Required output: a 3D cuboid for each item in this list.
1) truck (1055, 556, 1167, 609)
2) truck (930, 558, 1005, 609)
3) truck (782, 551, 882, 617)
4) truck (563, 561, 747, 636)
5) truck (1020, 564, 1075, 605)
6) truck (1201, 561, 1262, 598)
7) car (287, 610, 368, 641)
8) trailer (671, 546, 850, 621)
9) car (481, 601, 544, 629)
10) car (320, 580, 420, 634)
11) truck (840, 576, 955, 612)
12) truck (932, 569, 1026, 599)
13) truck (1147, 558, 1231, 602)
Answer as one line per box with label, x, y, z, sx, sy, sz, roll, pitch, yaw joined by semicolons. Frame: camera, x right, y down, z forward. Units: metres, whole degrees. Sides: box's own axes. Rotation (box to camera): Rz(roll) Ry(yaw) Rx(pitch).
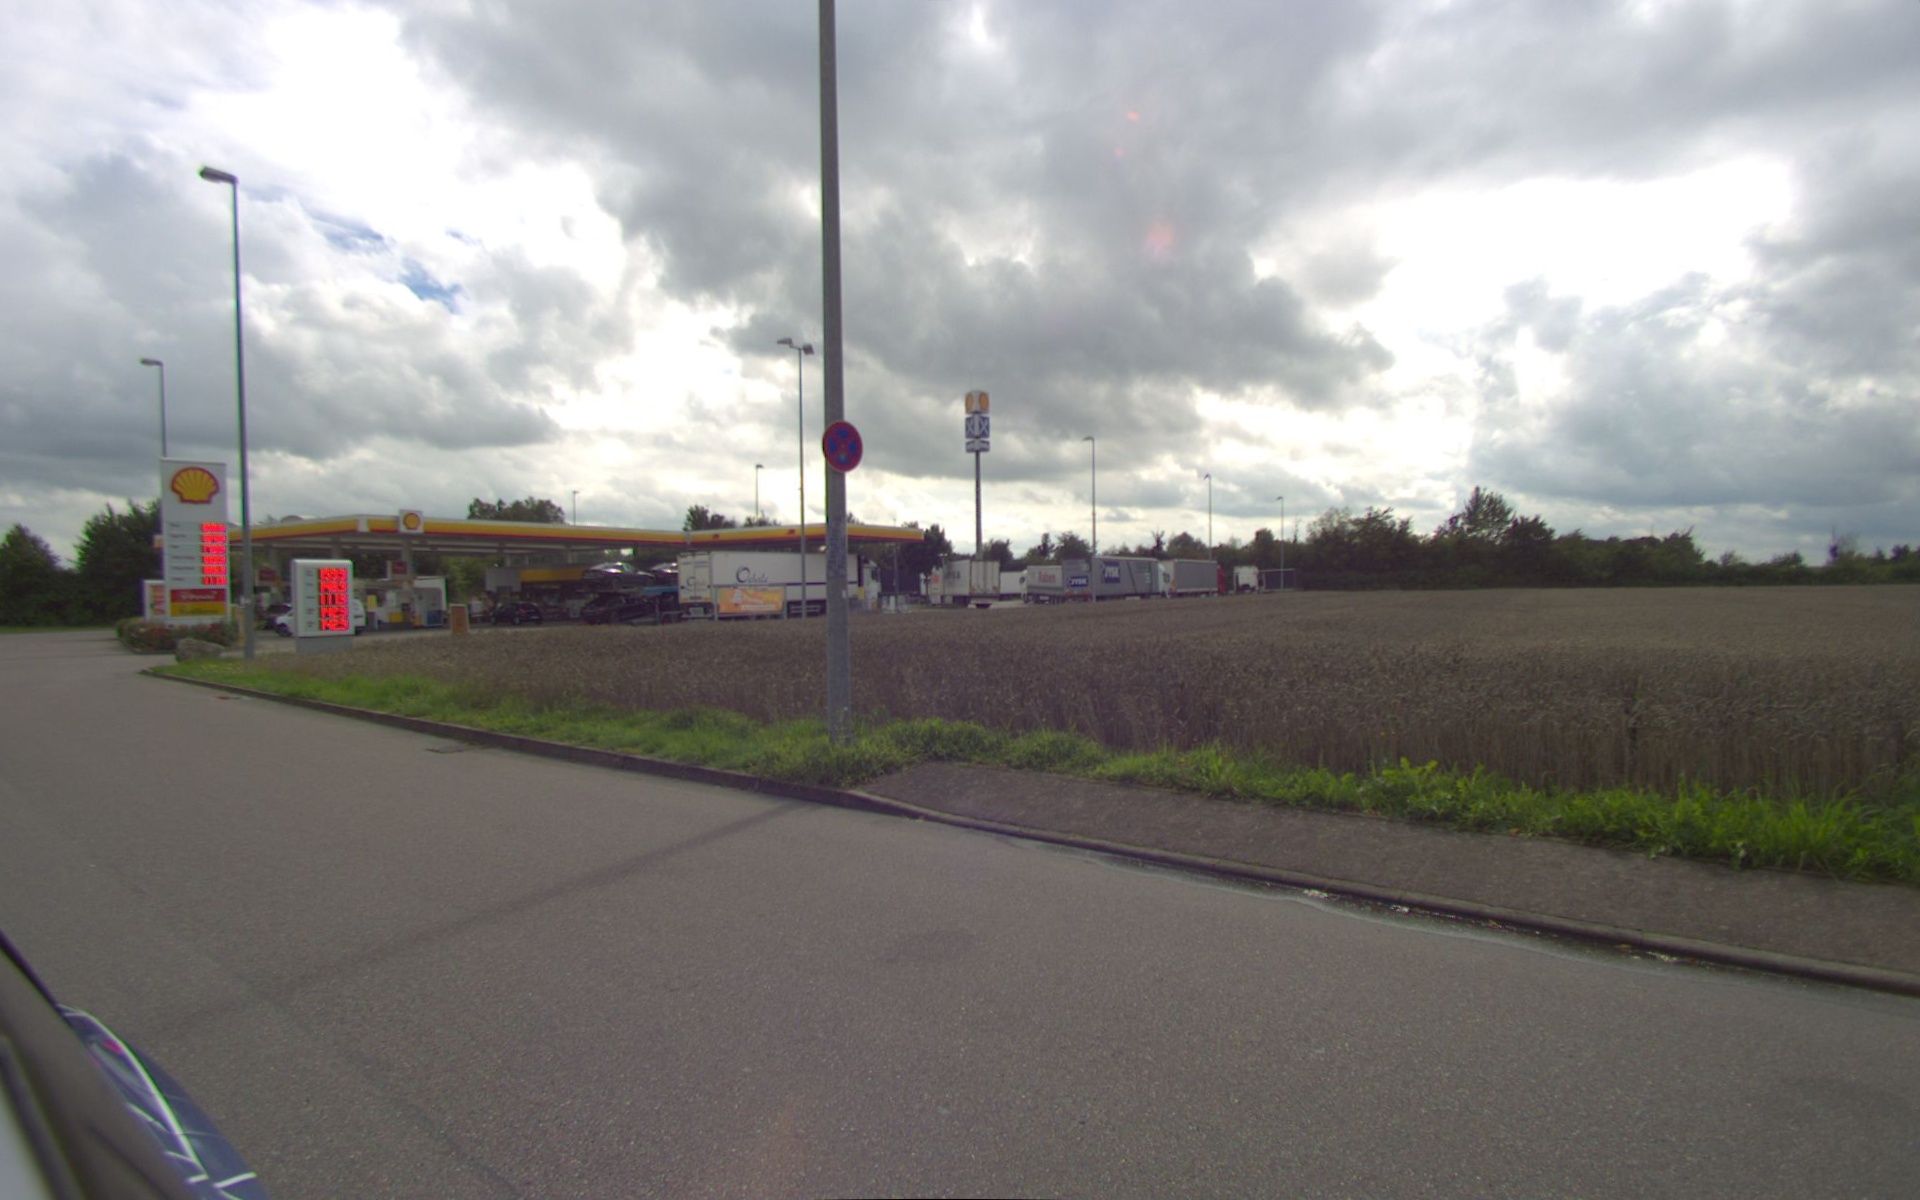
truck;12.497;-1.413;81.445;2.816;3.922;15.288;0;1;33
truck;0.379;-1.436;89.299;2.913;4.143;14.790;-1;1;-14
truck;-8.282;-1.043;66.410;2.703;4.055;7.094;-2;0;31
truck;-17.683;-0.173;60.381;2.734;3.953;13.157;0;1;23
truck;9.338;-1.544;109.649;2.946;4.141;11.599;-2;0;-10
truck;30.476;-2.284;113.217;2.816;3.922;12.665;0;1;33
car;-35.929;1.437;57.644;1.974;1.571;3.957;-2;0;3
trailer;-11.561;-0.986;60.786;2.702;4.055;12.714;-2;0;31
car;-28.323;0.941;64.019;3.743;1.613;1.701;-2;0;28
car;-32.580;0.362;56.096;2.193;2.808;5.809;-2;0;-1
truck;-7.152;-0.752;116.379;12.797;3.922;2.832;-1;1;-13
truck;2.690;-2.225;139.663;12.593;3.922;2.832;-1;1;-14
truck;22.299;-1.947;97.499;2.816;3.922;15.288;0;1;33
